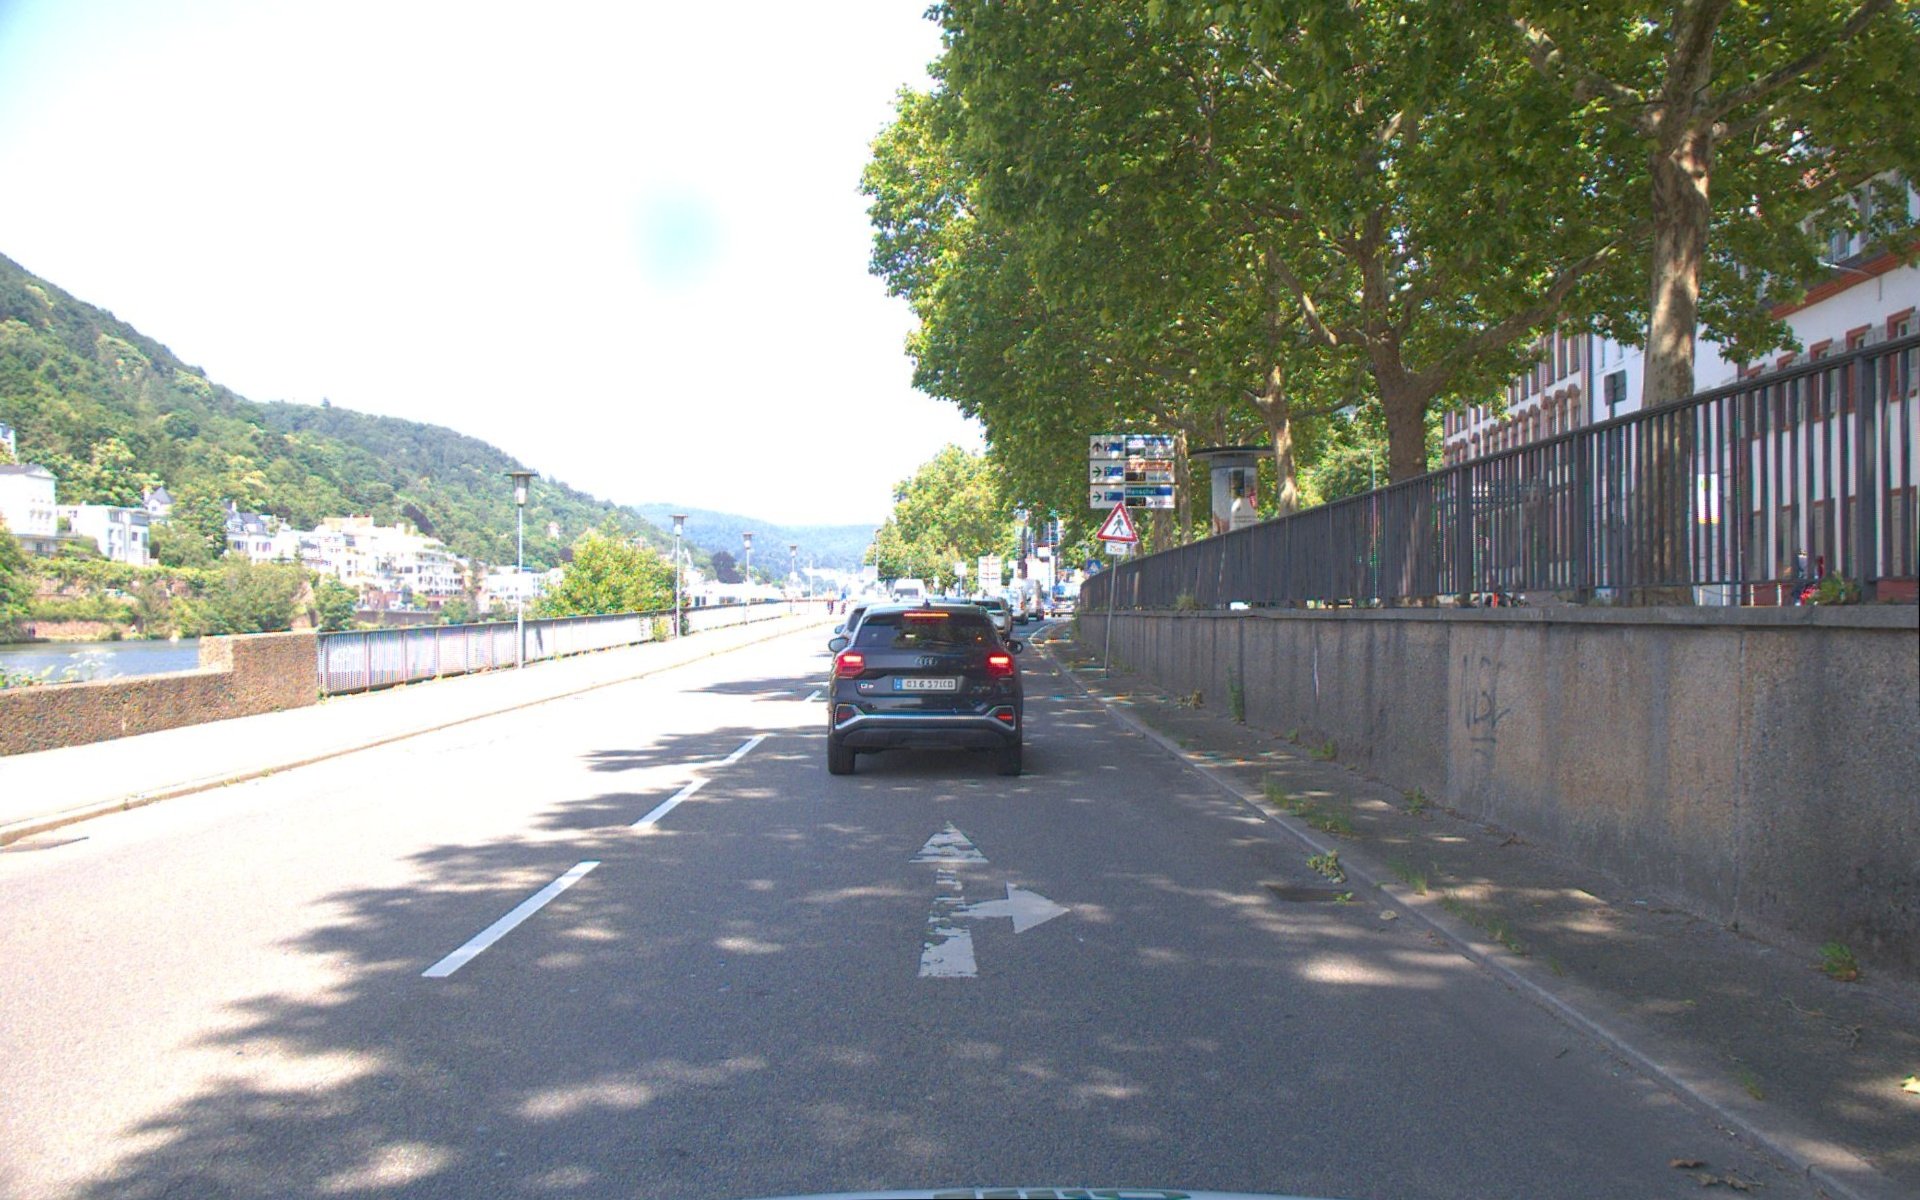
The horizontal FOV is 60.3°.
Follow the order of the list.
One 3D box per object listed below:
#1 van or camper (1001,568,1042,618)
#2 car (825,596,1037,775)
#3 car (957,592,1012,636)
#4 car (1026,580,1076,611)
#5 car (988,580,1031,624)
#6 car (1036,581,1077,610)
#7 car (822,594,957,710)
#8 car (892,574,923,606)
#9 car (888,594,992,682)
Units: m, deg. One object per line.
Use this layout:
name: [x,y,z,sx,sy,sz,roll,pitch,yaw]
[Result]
van or camper: [3.727,-0.416,101.212,2.262,2.897,4.246,-3,0,1]
car: [-0.287,0.725,16.057,1.791,1.512,3.999,1,0,-1]
car: [0.843,0.477,58.330,1.791,1.470,3.999,1,0,-1]
car: [6.447,-0.319,118.527,3.036,2.048,5.822,-3,0,-1]
car: [2.654,0.099,87.699,1.951,2.207,4.003,-3,0,5]
car: [7.563,-0.360,130.257,2.608,2.048,5.822,-3,0,-1]
car: [-0.992,0.698,24.217,1.791,1.537,3.999,1,0,-1]
car: [-3.526,-0.663,111.440,1.953,2.048,3.999,-3,0,-1]
car: [-0.395,0.665,30.868,1.791,1.512,3.999,1,0,-1]
